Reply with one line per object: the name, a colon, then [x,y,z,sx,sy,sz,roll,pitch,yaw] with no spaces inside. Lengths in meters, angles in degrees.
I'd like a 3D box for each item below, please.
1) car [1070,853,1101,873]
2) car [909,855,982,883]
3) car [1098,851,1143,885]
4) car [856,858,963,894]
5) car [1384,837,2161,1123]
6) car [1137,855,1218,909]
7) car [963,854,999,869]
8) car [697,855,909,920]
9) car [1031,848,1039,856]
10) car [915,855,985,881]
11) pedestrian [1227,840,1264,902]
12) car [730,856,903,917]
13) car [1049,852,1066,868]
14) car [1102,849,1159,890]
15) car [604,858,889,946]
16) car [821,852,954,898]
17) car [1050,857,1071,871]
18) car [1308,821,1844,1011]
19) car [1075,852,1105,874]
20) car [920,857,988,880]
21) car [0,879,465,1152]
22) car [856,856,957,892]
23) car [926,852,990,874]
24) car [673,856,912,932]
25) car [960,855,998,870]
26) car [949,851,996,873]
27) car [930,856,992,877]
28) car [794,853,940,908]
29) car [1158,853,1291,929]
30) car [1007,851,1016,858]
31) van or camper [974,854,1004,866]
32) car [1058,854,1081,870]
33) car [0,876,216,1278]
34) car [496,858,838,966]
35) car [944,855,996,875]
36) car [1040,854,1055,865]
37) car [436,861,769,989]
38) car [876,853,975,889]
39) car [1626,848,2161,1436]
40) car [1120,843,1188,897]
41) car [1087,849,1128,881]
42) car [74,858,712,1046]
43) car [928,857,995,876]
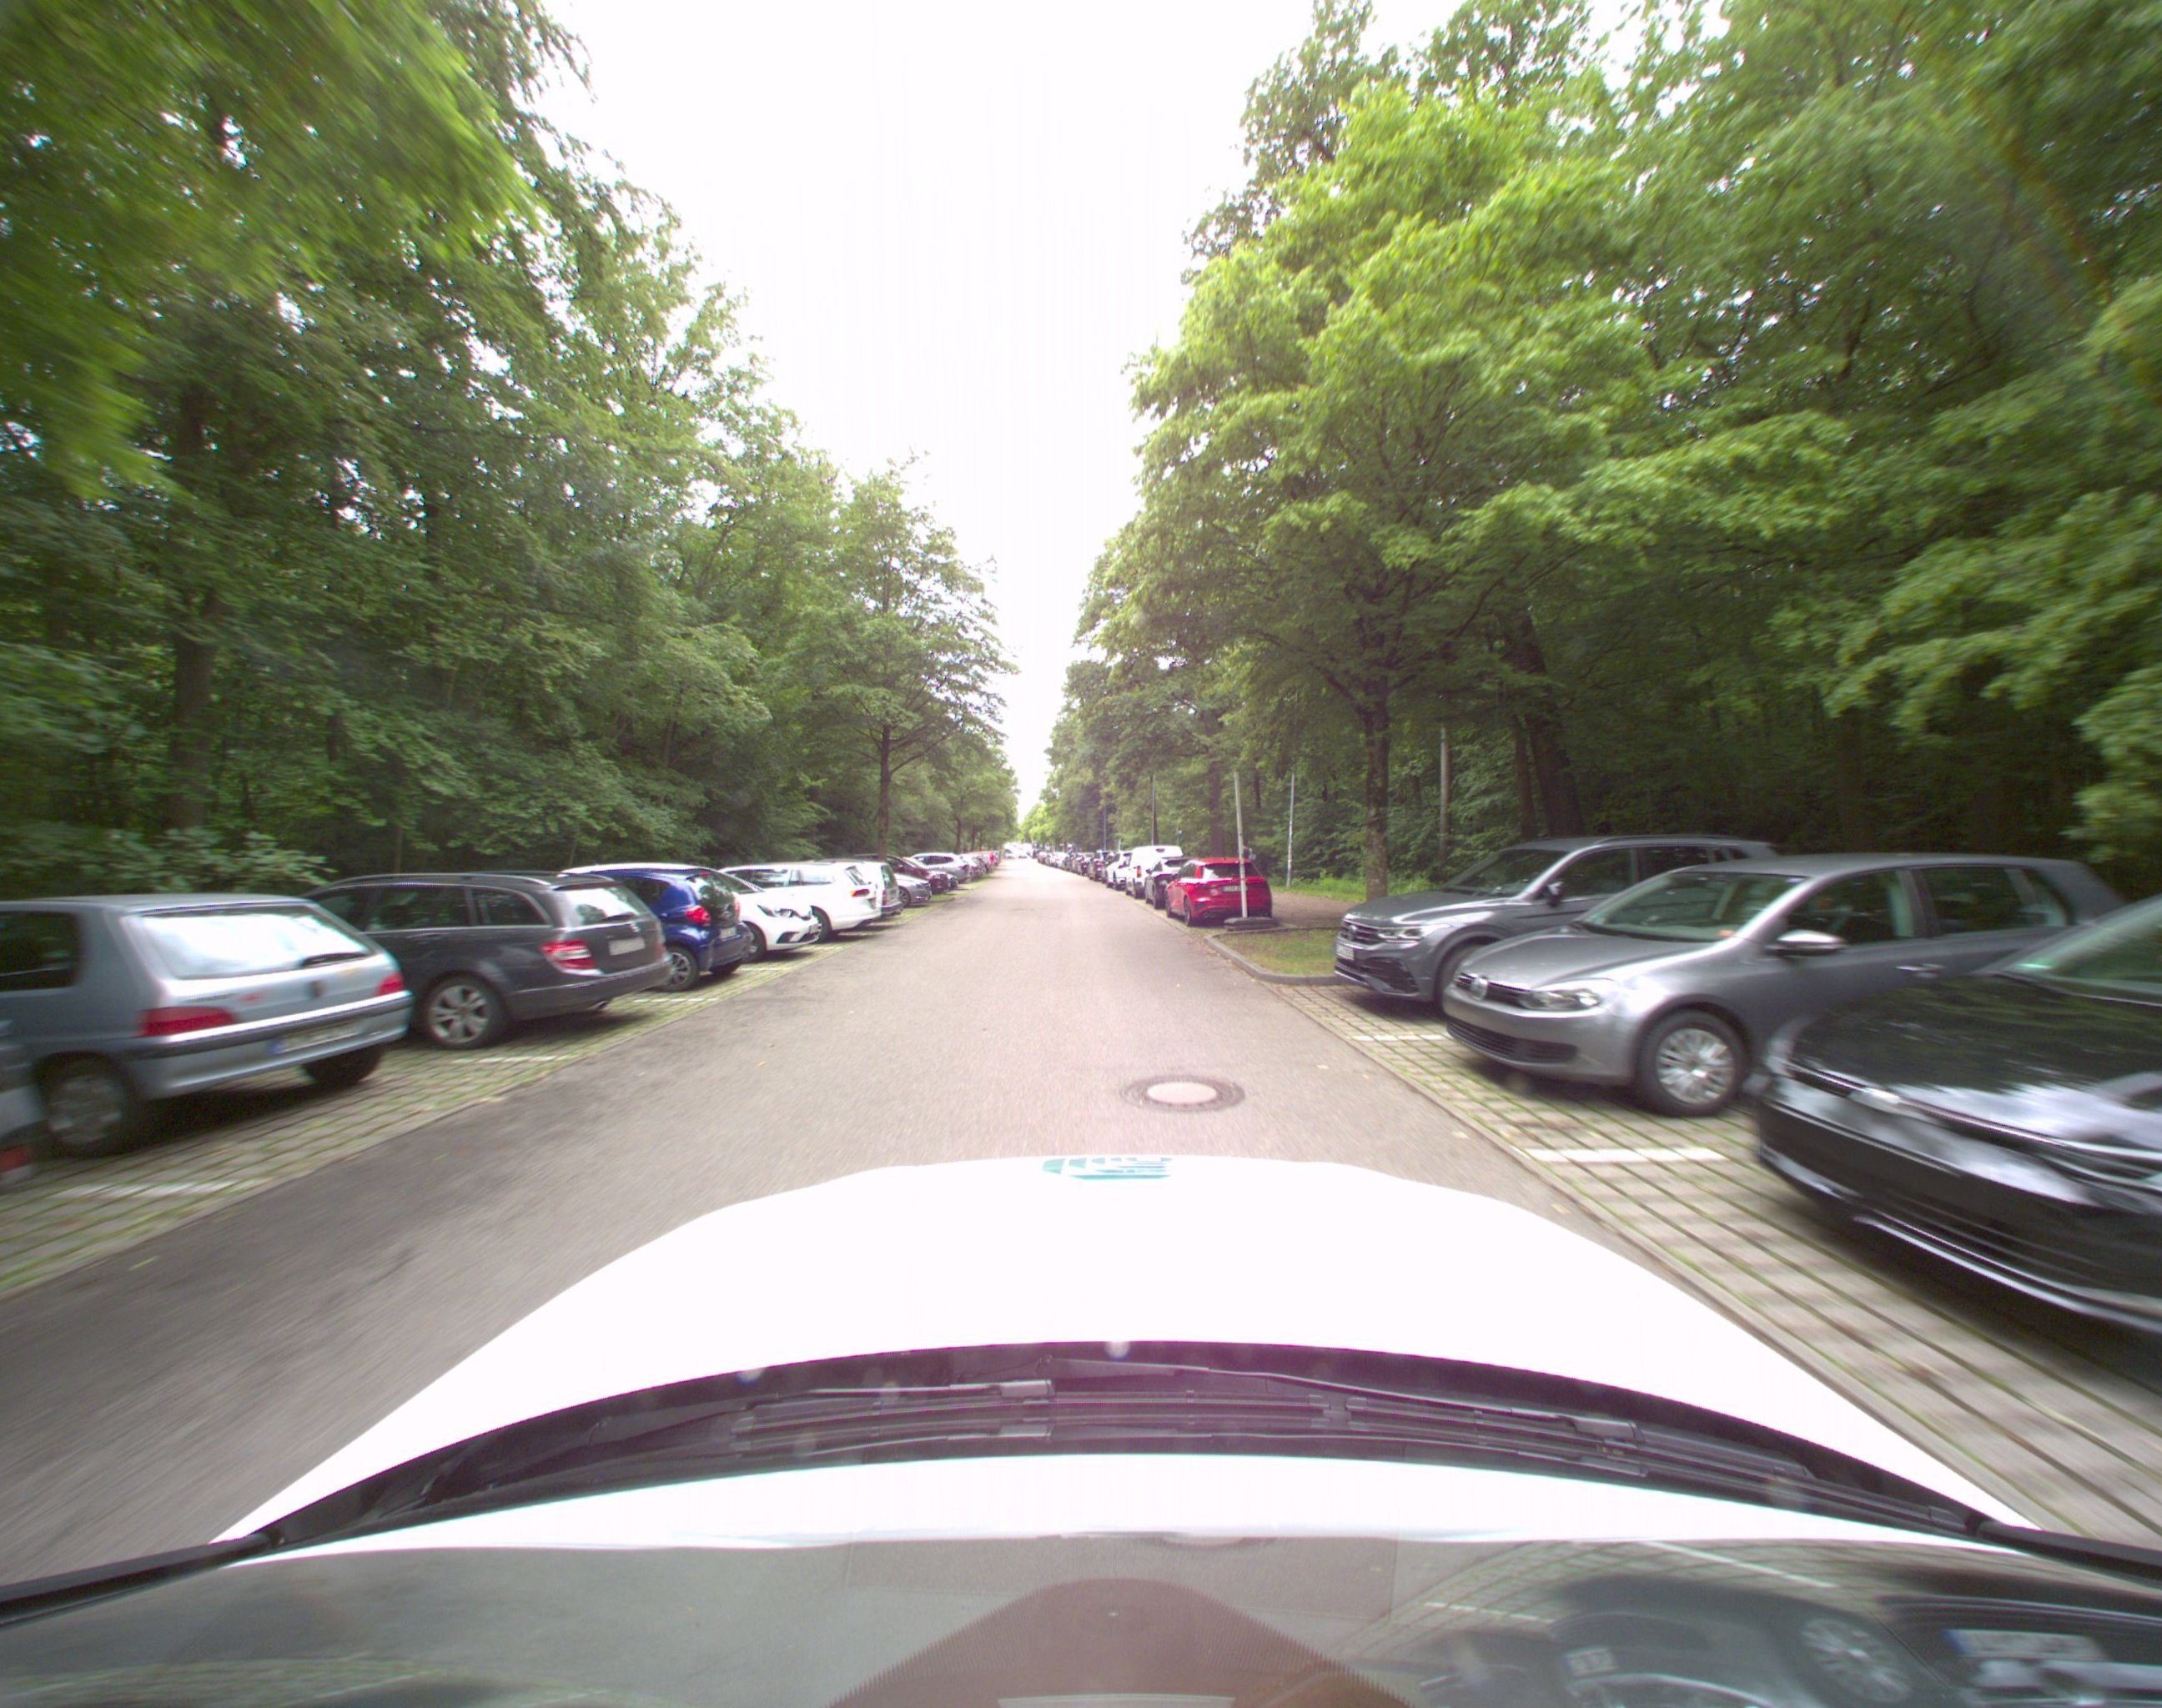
car: [0.319,0.667,63.527,1.975,1.537,4.613,0,0,-5]
car: [-7.872,0.854,47.608,4.086,1.523,1.925,-1,0,-8]
car: [1.932,0.680,41.415,1.748,1.607,4.439,0,0,-4]
car: [-6.835,0.869,32.784,3.980,1.364,1.784,0,0,-5]
car: [4.456,0.681,5.644,3.981,1.551,1.972,0,0,-6]
car: [2.726,0.744,23.908,1.721,1.422,4.280,0,0,-2]
car: [-11.260,0.846,92.024,3.979,1.640,1.732,-1,0,-5]
car: [-6.680,0.783,20.018,4.553,1.486,1.938,0,0,-4]
car: [-9.408,-0.460,166.210,1.626,1.415,3.405,0,3,-6]
car: [-7.997,0.845,50.162,4.104,1.480,1.993,-1,0,-6]
pedestrian: [4.646,0.469,23.002,0.815,1.726,1.003,0,0,-3]
car: [-7.176,0.846,22.462,4.232,1.550,1.842,-1,0,-8]
car: [-2.696,0.685,92.672,1.707,1.728,3.994,0,0,-5]
car: [2.093,0.617,35.561,1.783,1.662,4.709,0,0,-5]
car: [-6.136,0.842,15.488,4.557,1.447,2.081,-1,0,-6]
car: [-7.053,0.757,30.082,4.506,1.584,1.924,-1,0,-4]
car: [-2.193,1.053,86.882,1.721,1.494,3.761,0,0,-10]
car: [4.684,0.548,8.223,4.252,1.666,1.958,0,0,-1]
car: [0.626,0.624,57.688,1.635,1.477,4.142,0,0,-6]
car: [-8.155,0.916,52.611,4.100,1.431,1.962,-1,0,-3]
car: [-6.514,0.901,5.261,3.741,1.387,1.757,-1,0,2]
car: [-7.476,0.846,35.169,4.012,1.465,1.797,0,0,-2]
car: [-9.429,0.710,62.553,4.726,1.595,1.955,-1,0,-6]
car: [-6.164,0.829,17.833,4.551,1.486,1.868,-1,0,-3]
car: [-10.565,0.890,84.738,3.825,1.536,1.868,-1,0,-4]
car: [-9.326,0.653,70.031,3.984,1.816,2.109,-1,0,-8]
car: [-8.488,0.863,57.570,4.295,1.449,1.751,-1,0,-10]
car: [-6.498,0.781,25.103,4.027,1.555,1.917,-1,0,-5]
car: [3.051,0.711,18.435,1.988,1.479,4.967,0,0,-2]
car: [-13.904,0.116,163.750,1.735,1.162,3.408,1,3,-3]
van or camper: [-15.052,1.008,133.160,4.488,1.868,1.907,0,3,-20]
car: [-1.212,0.772,81.094,1.935,1.475,3.983,0,0,-6]
car: [-6.091,0.834,2.655,4.388,1.424,2.036,-1,0,1]
car: [-6.254,0.838,12.776,4.358,1.486,1.888,-1,-1,-5]
car: [-8.864,0.873,65.067,3.986,1.530,1.994,-1,0,-9]
car: [-4.581,0.739,112.006,1.917,1.520,3.881,0,0,-4]
car: [-5.907,0.831,10.379,3.211,1.444,1.679,-1,0,-3]
car: [-7.098,0.757,37.448,4.215,1.633,2.027,0,0,-4]
car: [4.639,0.712,3.002,3.973,1.475,1.953,0,0,1]
car: [2.537,0.536,29.375,1.741,1.780,4.545,0,0,-4]
car: [1.465,0.581,47.116,1.886,1.747,4.940,0,0,-4]
car: [-6.098,0.808,7.675,4.250,1.486,2.058,-1,0,1]
car: [-8.742,0.896,59.903,4.726,1.343,1.983,-1,0,-6]
